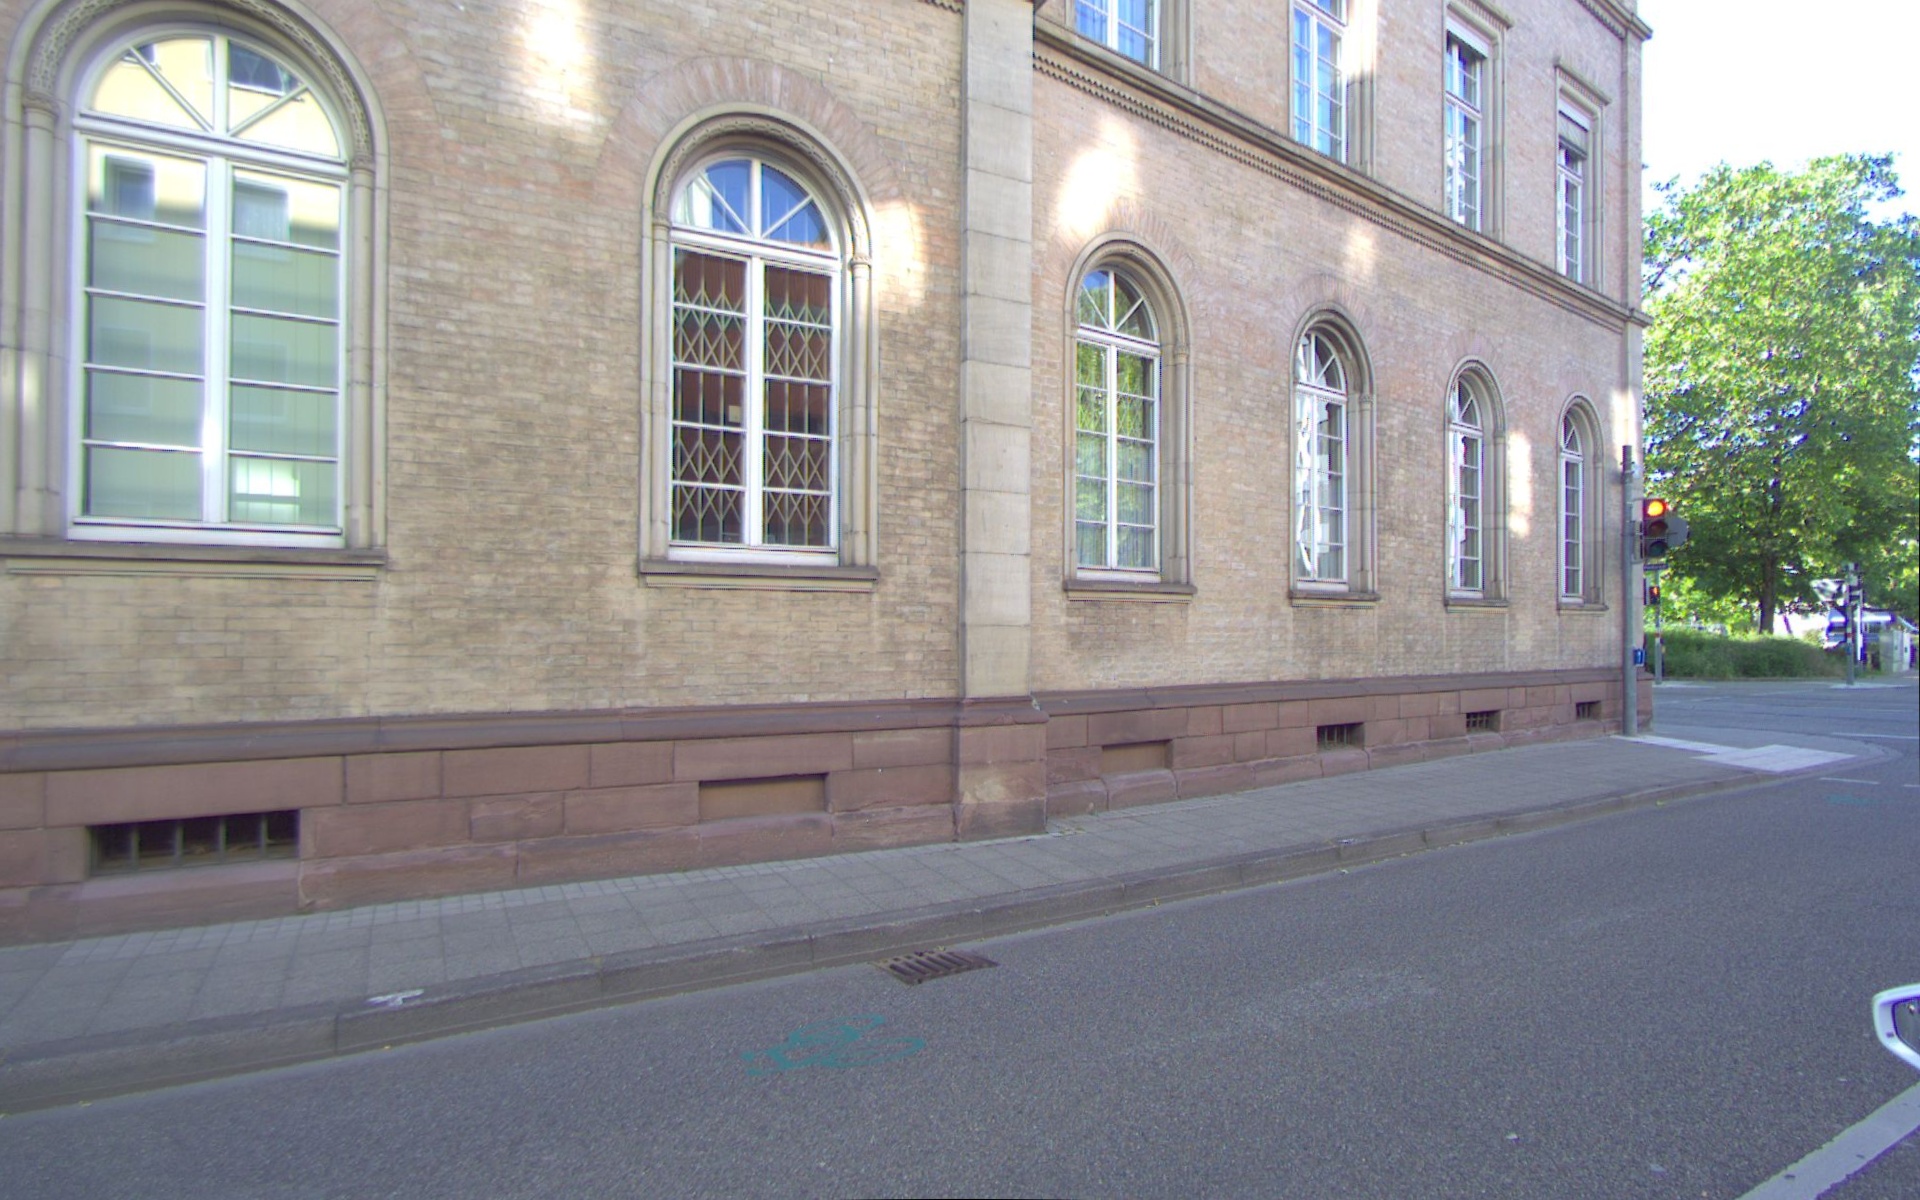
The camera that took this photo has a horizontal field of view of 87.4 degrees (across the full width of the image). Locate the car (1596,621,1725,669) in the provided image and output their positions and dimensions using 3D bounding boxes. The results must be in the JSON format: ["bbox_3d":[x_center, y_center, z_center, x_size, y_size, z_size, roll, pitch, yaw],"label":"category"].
[{"bbox_3d":[24.378,1.523,35.024,1.636,1.476,3.382,2,0,-39],"label":"car"}]

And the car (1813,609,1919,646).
[{"bbox_3d":[53.499,1.606,59.386,1.983,2.040,4.409,2,0,-38],"label":"car"}]
